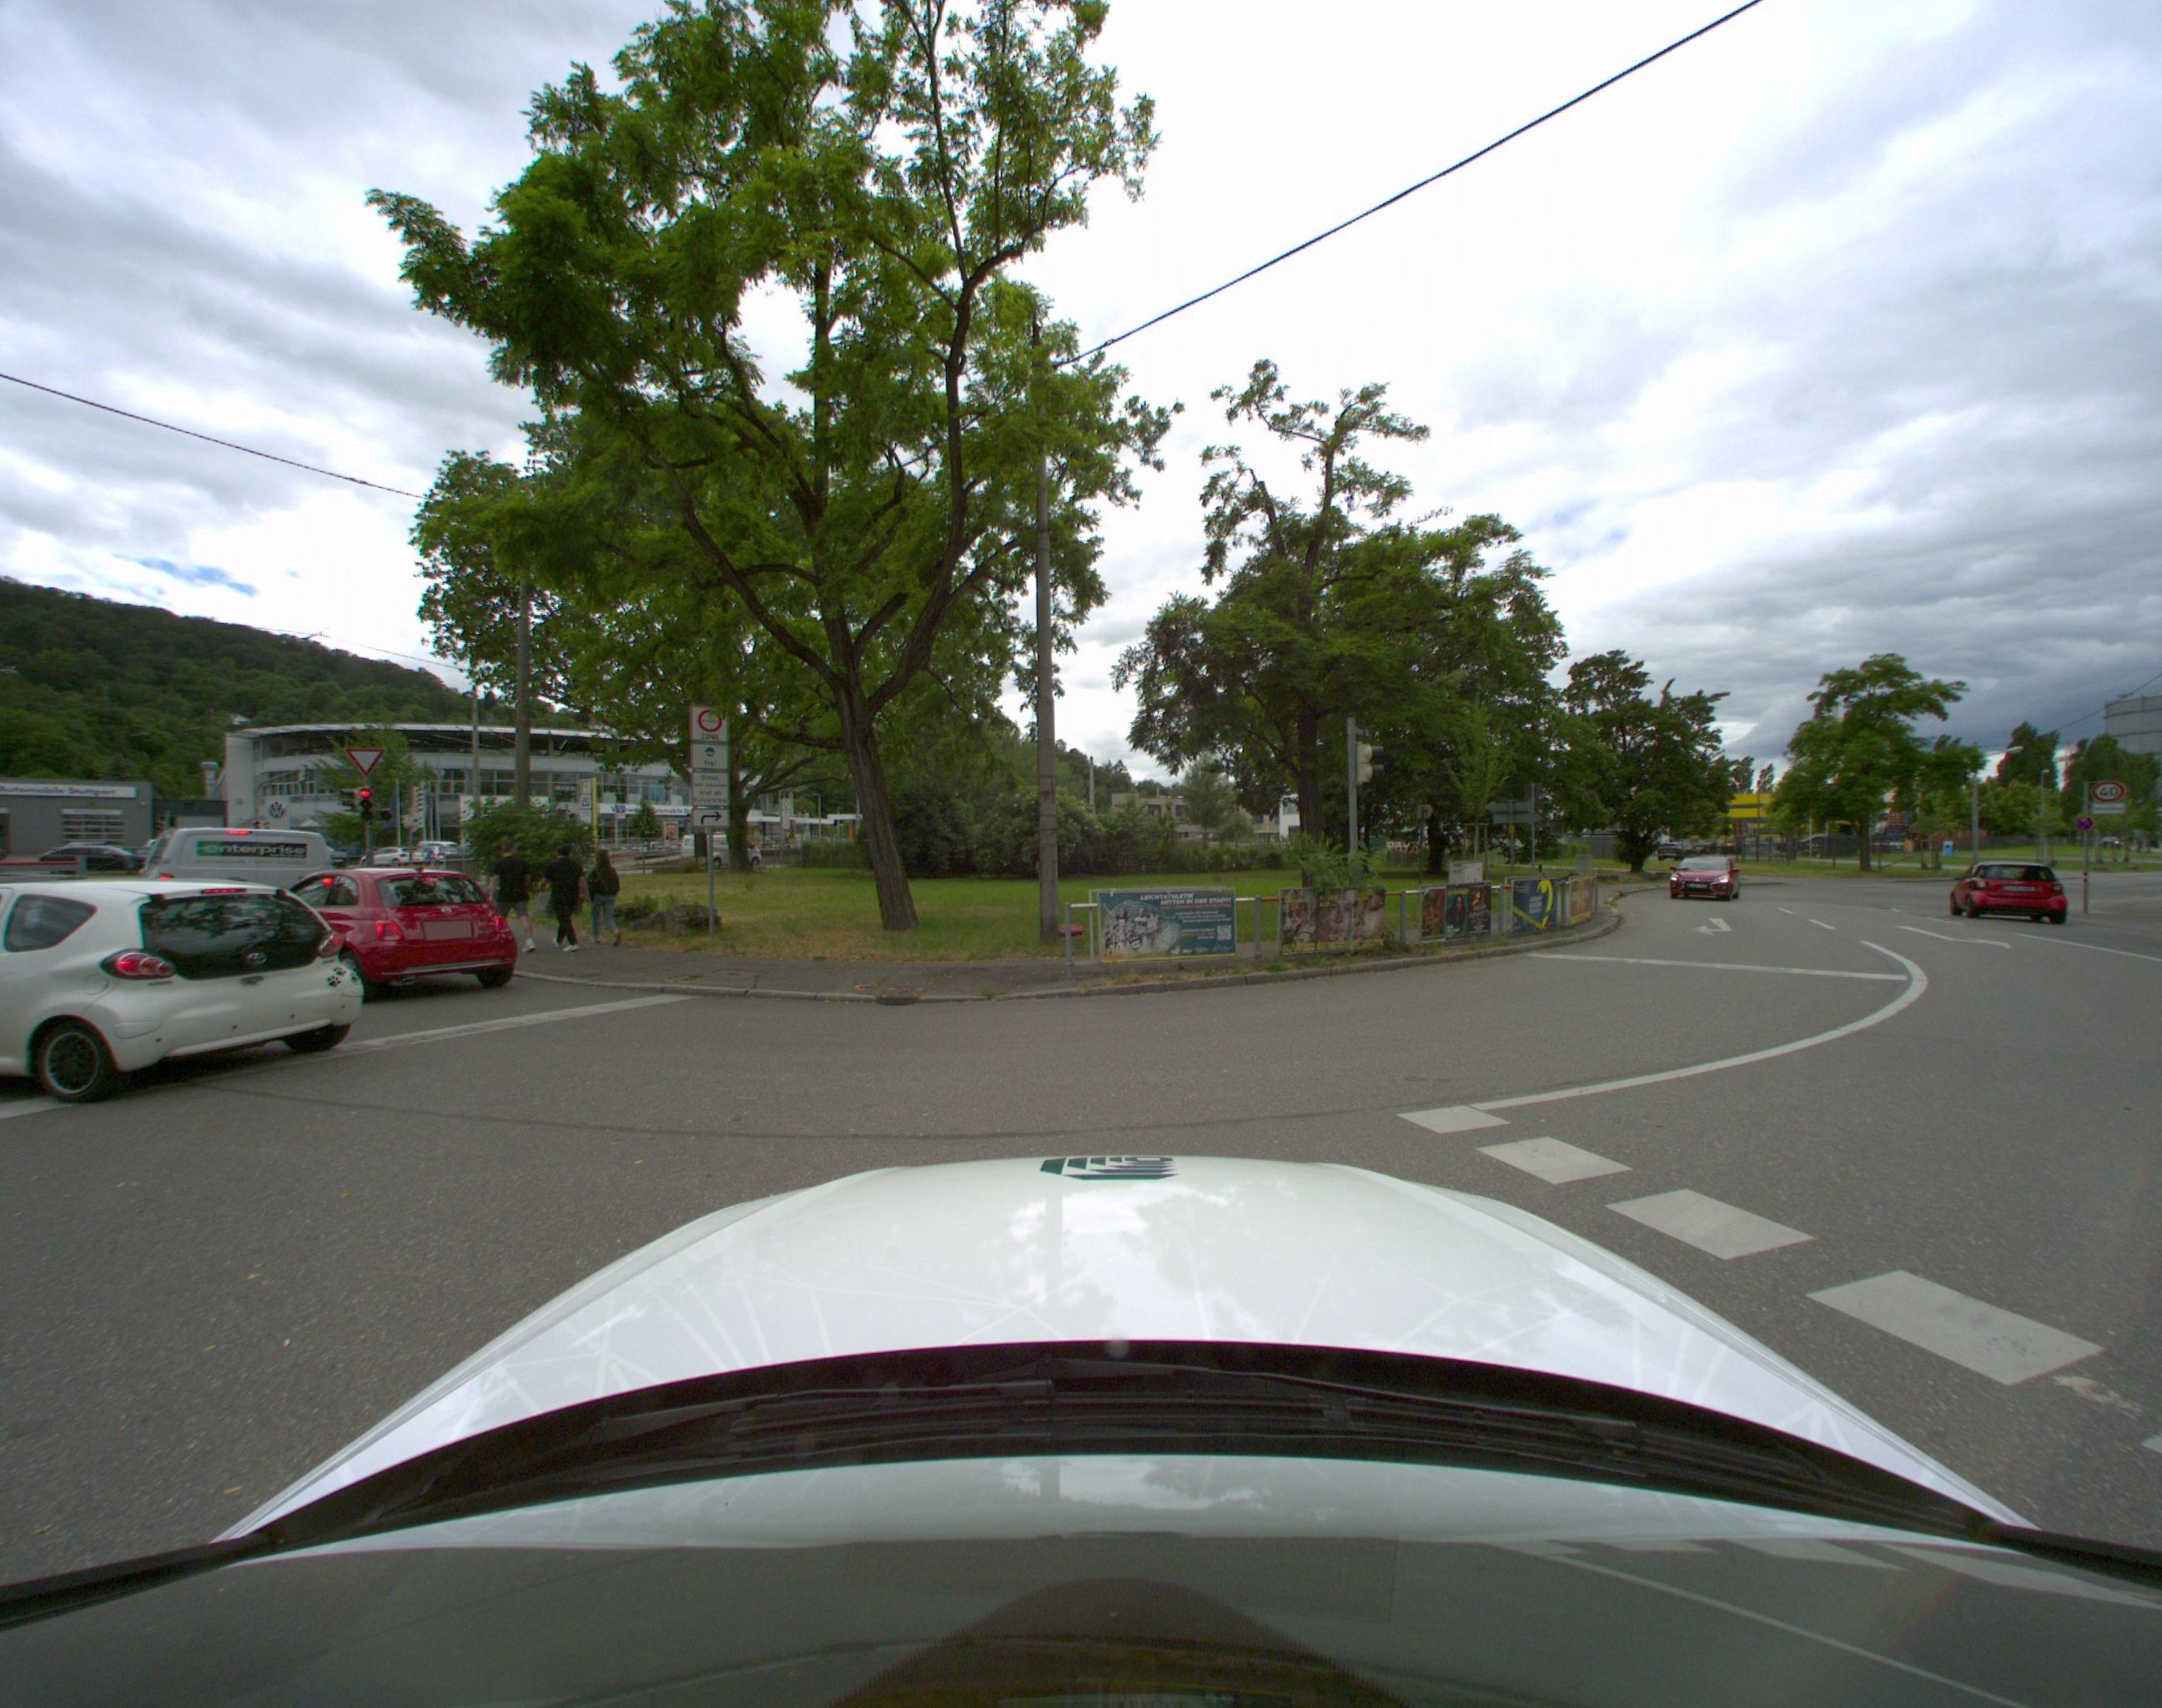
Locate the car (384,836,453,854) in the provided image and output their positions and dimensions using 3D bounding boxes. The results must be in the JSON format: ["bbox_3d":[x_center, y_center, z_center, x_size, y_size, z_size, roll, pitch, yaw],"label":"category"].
[{"bbox_3d":[-55.786,-0.753,68.644,4.197,1.491,1.792,-1,1,-7],"label":"car"}]

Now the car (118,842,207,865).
[{"bbox_3d":[-77.020,-0.047,68.353,1.753,1.802,4.842,0,1,40],"label":"car"}]

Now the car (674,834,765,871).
[{"bbox_3d":[-21.235,-0.143,48.072,1.952,2.013,5.323,0,1,15],"label":"car"}]

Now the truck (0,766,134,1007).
[{"bbox_3d":[-13.613,0.339,9.010,5.955,2.397,2.444,0,1,24],"label":"truck"}]

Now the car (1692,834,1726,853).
[{"bbox_3d":[68.690,-1.182,89.039,4.239,2.013,1.948,-1,2,-39],"label":"car"}]

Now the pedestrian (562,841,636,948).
[{"bbox_3d":[-8.144,0.665,13.779,0.779,1.739,0.699,0,1,19],"label":"pedestrian"}]

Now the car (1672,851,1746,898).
[{"bbox_3d":[21.528,0.659,27.861,1.711,1.465,3.858,-1,-1,42],"label":"car"}]

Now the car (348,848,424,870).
[{"bbox_3d":[-48.887,0.362,57.299,3.988,1.500,1.779,0,1,6],"label":"car"}]

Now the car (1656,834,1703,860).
[{"bbox_3d":[48.047,-0.591,65.368,4.239,2.013,1.948,-1,2,-39],"label":"car"}]

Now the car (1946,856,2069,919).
[{"bbox_3d":[24.357,0.818,21.522,1.695,1.464,3.039,0,2,40],"label":"car"}]

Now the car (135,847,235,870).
[{"bbox_3d":[-65.145,0.301,59.274,1.753,1.533,4.842,0,1,40],"label":"car"}]

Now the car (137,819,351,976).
[{"bbox_3d":[-13.654,0.550,13.195,4.700,2.106,2.009,0,1,40],"label":"car"}]

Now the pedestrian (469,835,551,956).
[{"bbox_3d":[-9.057,0.634,12.924,0.779,1.857,0.699,0,1,19],"label":"pedestrian"}]

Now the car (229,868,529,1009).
[{"bbox_3d":[-8.767,0.923,10.169,3.388,1.457,1.654,0,0,26],"label":"car"}]

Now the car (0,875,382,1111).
[{"bbox_3d":[-7.673,0.928,6.180,3.402,1.432,1.647,-1,1,6],"label":"car"}]

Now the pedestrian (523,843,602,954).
[{"bbox_3d":[-8.318,0.685,13.085,0.779,1.714,0.699,0,1,19],"label":"pedestrian"}]

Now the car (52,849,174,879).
[{"bbox_3d":[-52.281,0.503,44.099,3.898,1.500,1.756,-1,1,-36],"label":"car"}]
